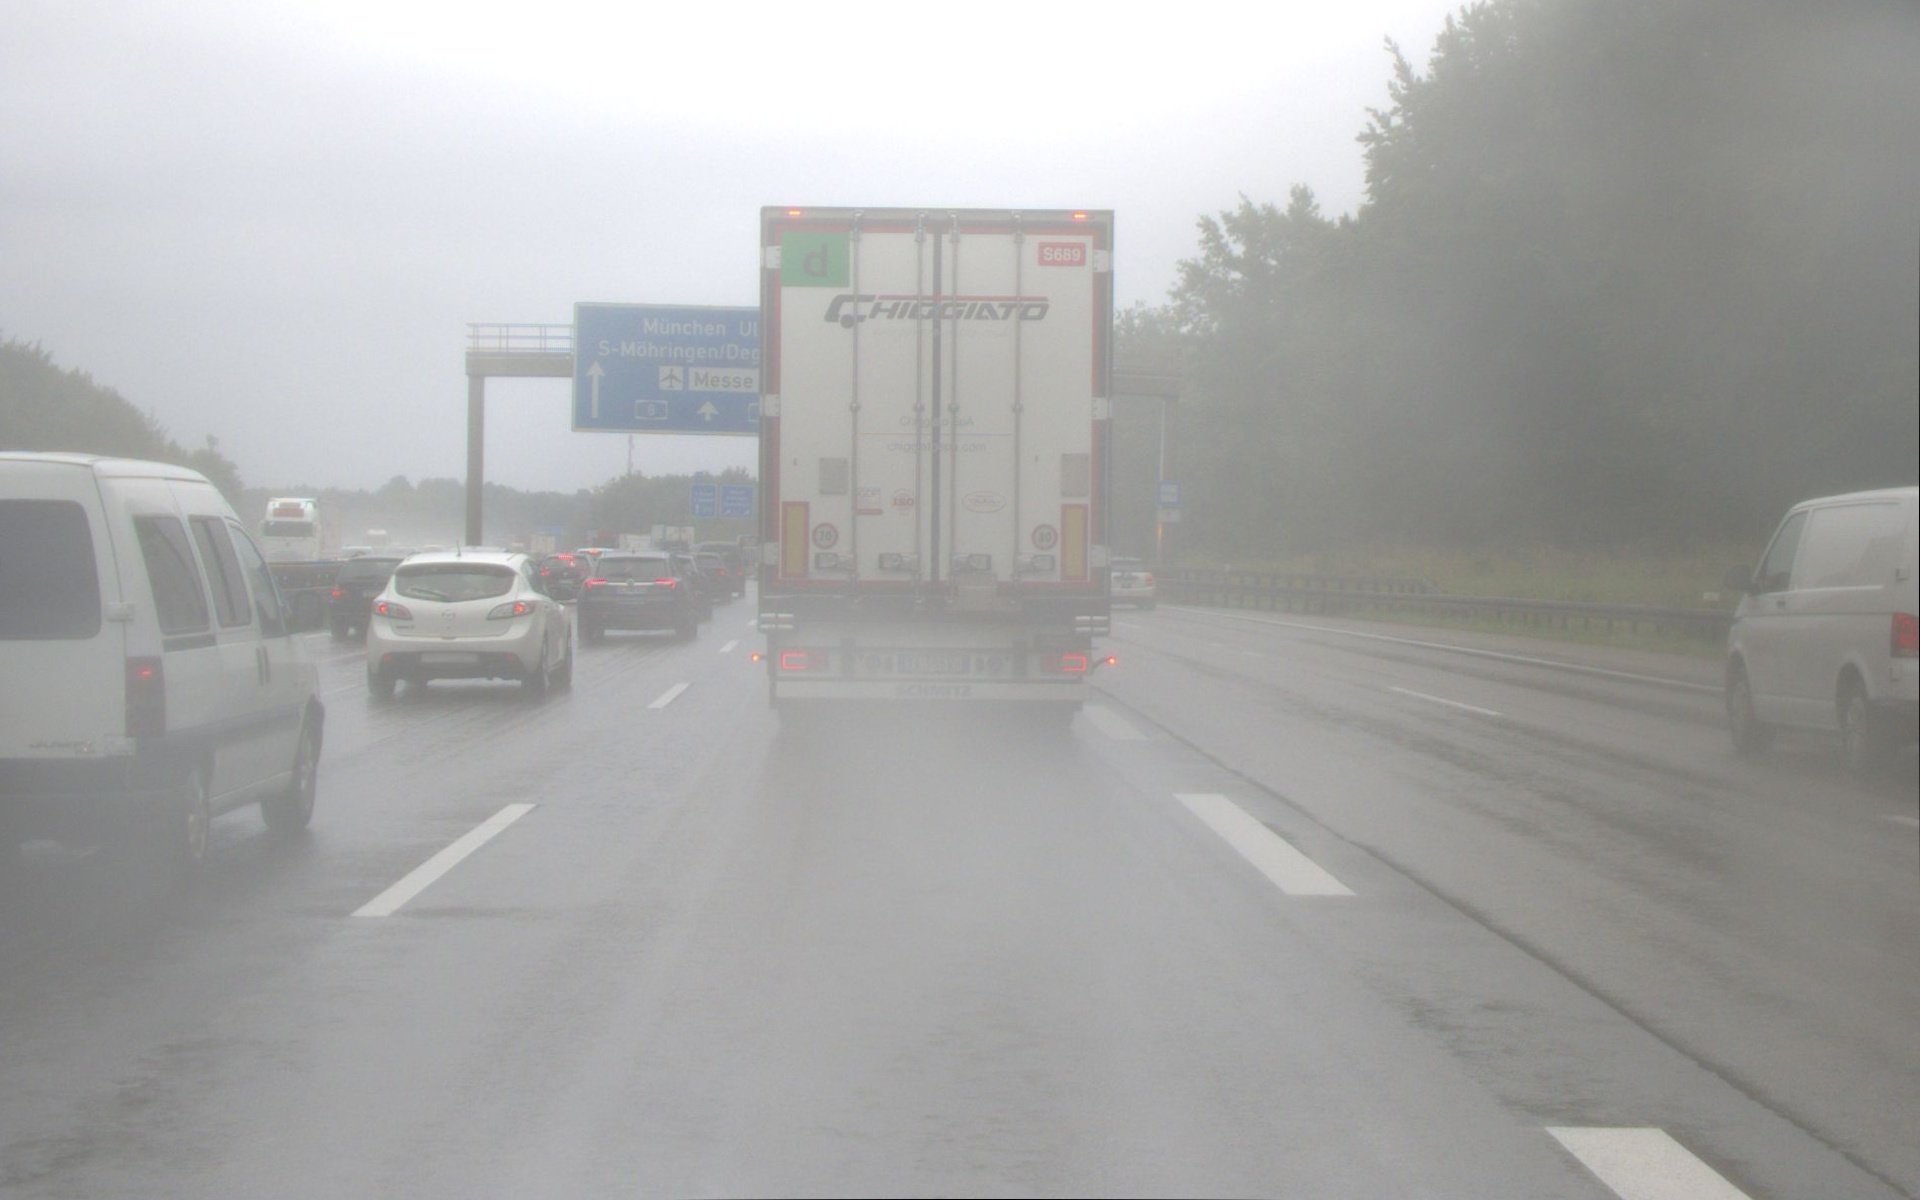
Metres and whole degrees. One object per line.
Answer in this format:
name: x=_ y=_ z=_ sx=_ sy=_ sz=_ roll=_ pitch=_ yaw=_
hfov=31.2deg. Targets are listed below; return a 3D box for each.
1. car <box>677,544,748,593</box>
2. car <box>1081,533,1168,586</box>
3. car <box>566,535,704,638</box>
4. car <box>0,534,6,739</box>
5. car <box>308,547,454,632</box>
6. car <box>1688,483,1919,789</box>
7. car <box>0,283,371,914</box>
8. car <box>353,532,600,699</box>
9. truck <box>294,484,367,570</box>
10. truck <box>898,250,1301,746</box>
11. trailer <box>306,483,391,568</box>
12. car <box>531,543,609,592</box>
car: x=-7.248 y=-0.938 z=100.966 sx=1.845 sy=1.326 sz=4.467 roll=1 pitch=1 yaw=-2
car: x=4.483 y=-1.119 z=94.177 sx=1.790 sy=1.402 sz=4.229 roll=1 pitch=1 yaw=-5
car: x=-5.329 y=-0.256 z=56.813 sx=1.845 sy=1.586 sz=4.467 roll=1 pitch=1 yaw=0
car: x=-8.355 y=0.325 z=24.611 sx=1.845 sy=1.586 sz=4.467 roll=1 pitch=1 yaw=-1
car: x=-9.824 y=-0.205 z=58.621 sx=1.845 sy=1.326 sz=4.467 roll=1 pitch=1 yaw=-2
car: x=6.654 y=0.178 z=23.979 sx=1.990 sy=1.914 sz=4.768 roll=1 pitch=1 yaw=-2
car: x=-4.340 y=-0.073 z=16.503 sx=2.213 sy=2.564 sz=5.016 roll=1 pitch=1 yaw=-1
car: x=-4.937 y=0.112 z=35.636 sx=1.845 sy=1.586 sz=4.072 roll=1 pitch=1 yaw=2
truck: x=-29.944 y=-3.466 z=163.743 sx=2.540 sy=4.011 sz=6.325 roll=0 pitch=1 yaw=-3
truck: x=1.105 y=-0.805 z=30.498 sx=2.872 sy=3.550 sz=11.302 roll=1 pitch=1 yaw=1
trailer: x=-30.386 y=-3.686 z=171.324 sx=2.540 sy=4.011 sz=13.853 roll=1 pitch=1 yaw=-3
car: x=-11.160 y=-0.943 z=98.657 sx=1.845 sy=1.326 sz=4.467 roll=1 pitch=1 yaw=-2
